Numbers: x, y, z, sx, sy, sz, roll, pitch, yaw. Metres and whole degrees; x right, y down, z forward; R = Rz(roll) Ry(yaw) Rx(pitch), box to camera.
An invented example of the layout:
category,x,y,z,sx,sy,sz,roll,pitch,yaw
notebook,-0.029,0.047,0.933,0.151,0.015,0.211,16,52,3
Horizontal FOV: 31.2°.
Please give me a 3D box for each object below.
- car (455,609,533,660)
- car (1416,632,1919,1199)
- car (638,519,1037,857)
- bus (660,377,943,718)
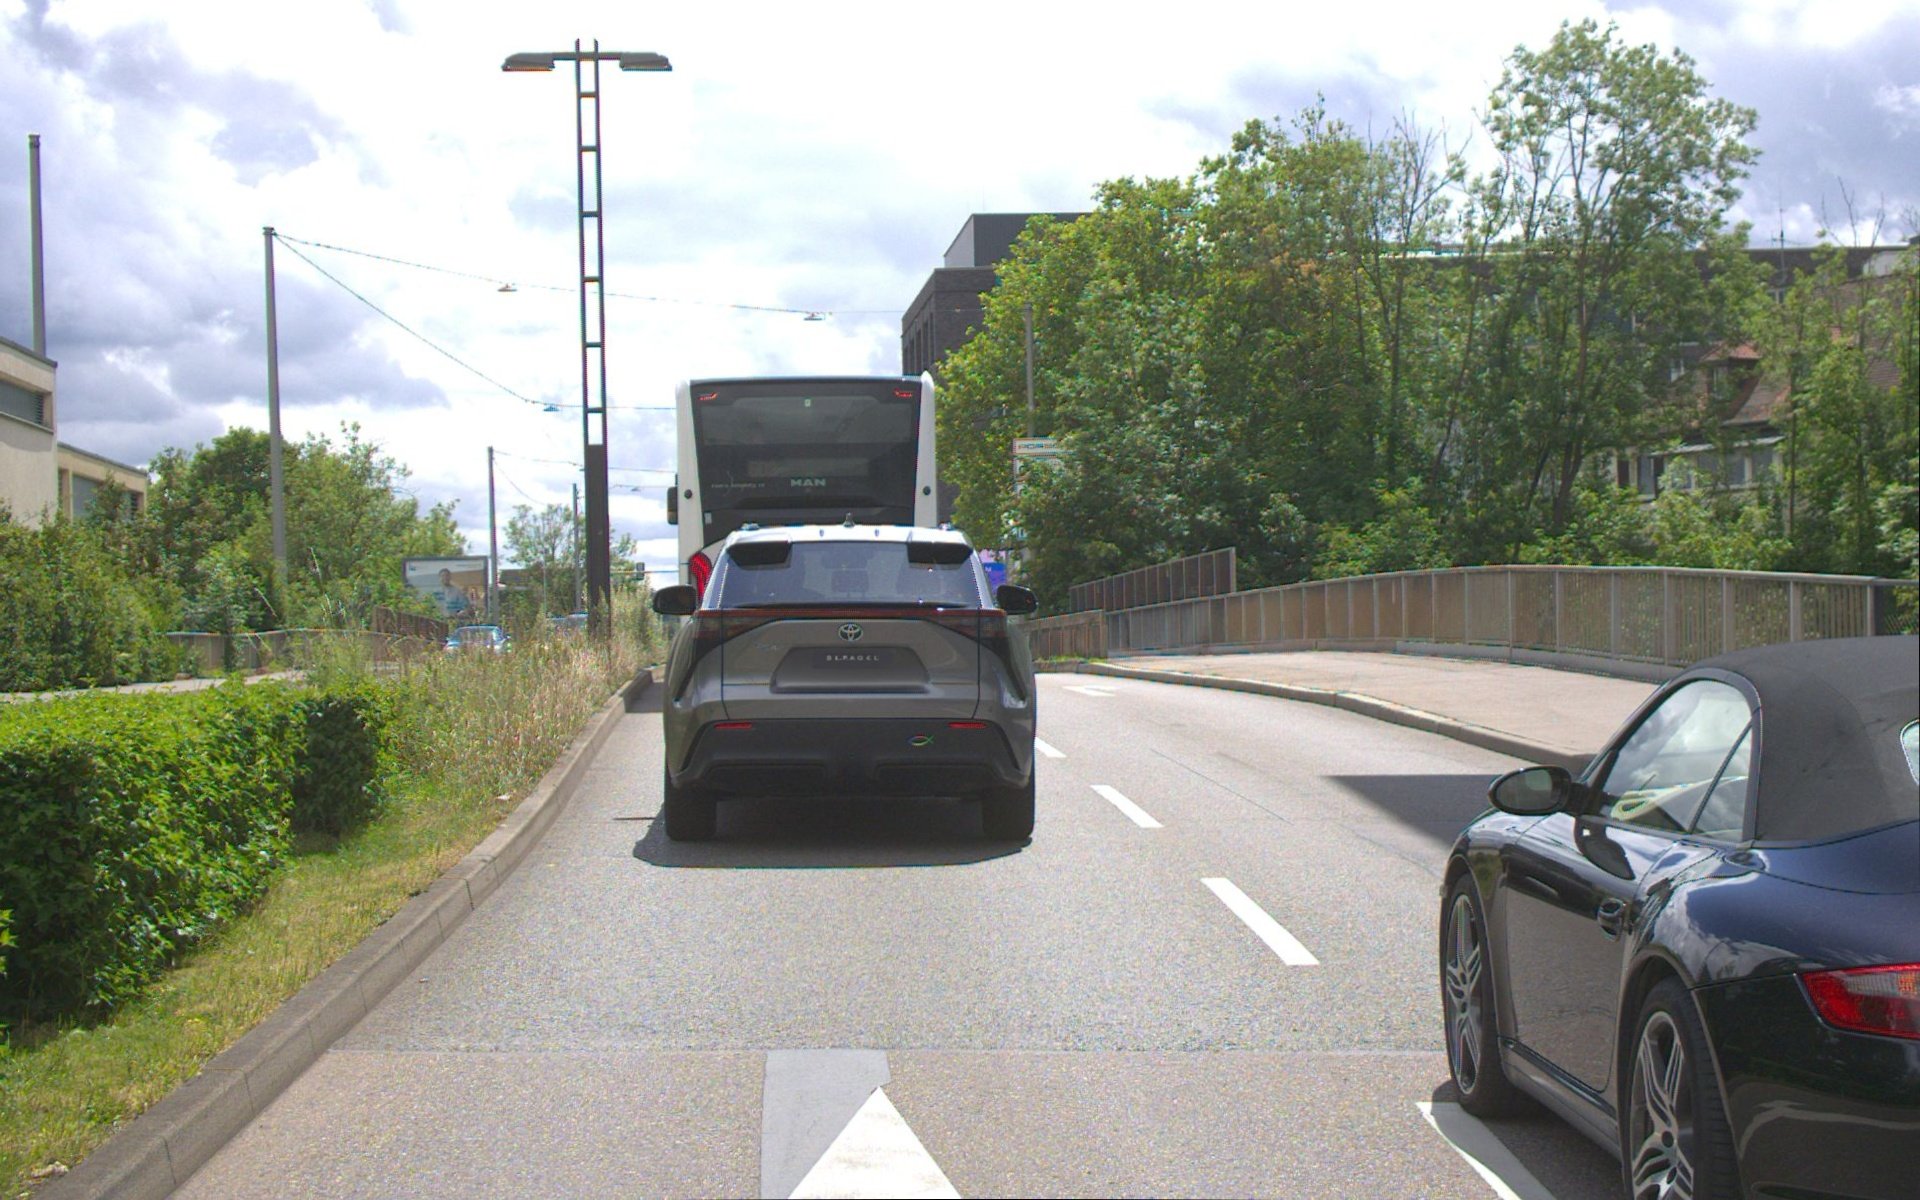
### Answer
category,x,y,z,sx,sy,sz,roll,pitch,yaw
car,-12.809,0.939,94.625,1.754,1.271,4.000,-4,0,-4
car,2.182,0.753,7.552,1.719,1.271,4.088,0,1,-1
car,-0.648,0.394,18.382,1.879,1.588,4.230,0,1,-2
bus,-1.714,-0.697,38.964,2.689,3.244,12.059,0,2,-2
